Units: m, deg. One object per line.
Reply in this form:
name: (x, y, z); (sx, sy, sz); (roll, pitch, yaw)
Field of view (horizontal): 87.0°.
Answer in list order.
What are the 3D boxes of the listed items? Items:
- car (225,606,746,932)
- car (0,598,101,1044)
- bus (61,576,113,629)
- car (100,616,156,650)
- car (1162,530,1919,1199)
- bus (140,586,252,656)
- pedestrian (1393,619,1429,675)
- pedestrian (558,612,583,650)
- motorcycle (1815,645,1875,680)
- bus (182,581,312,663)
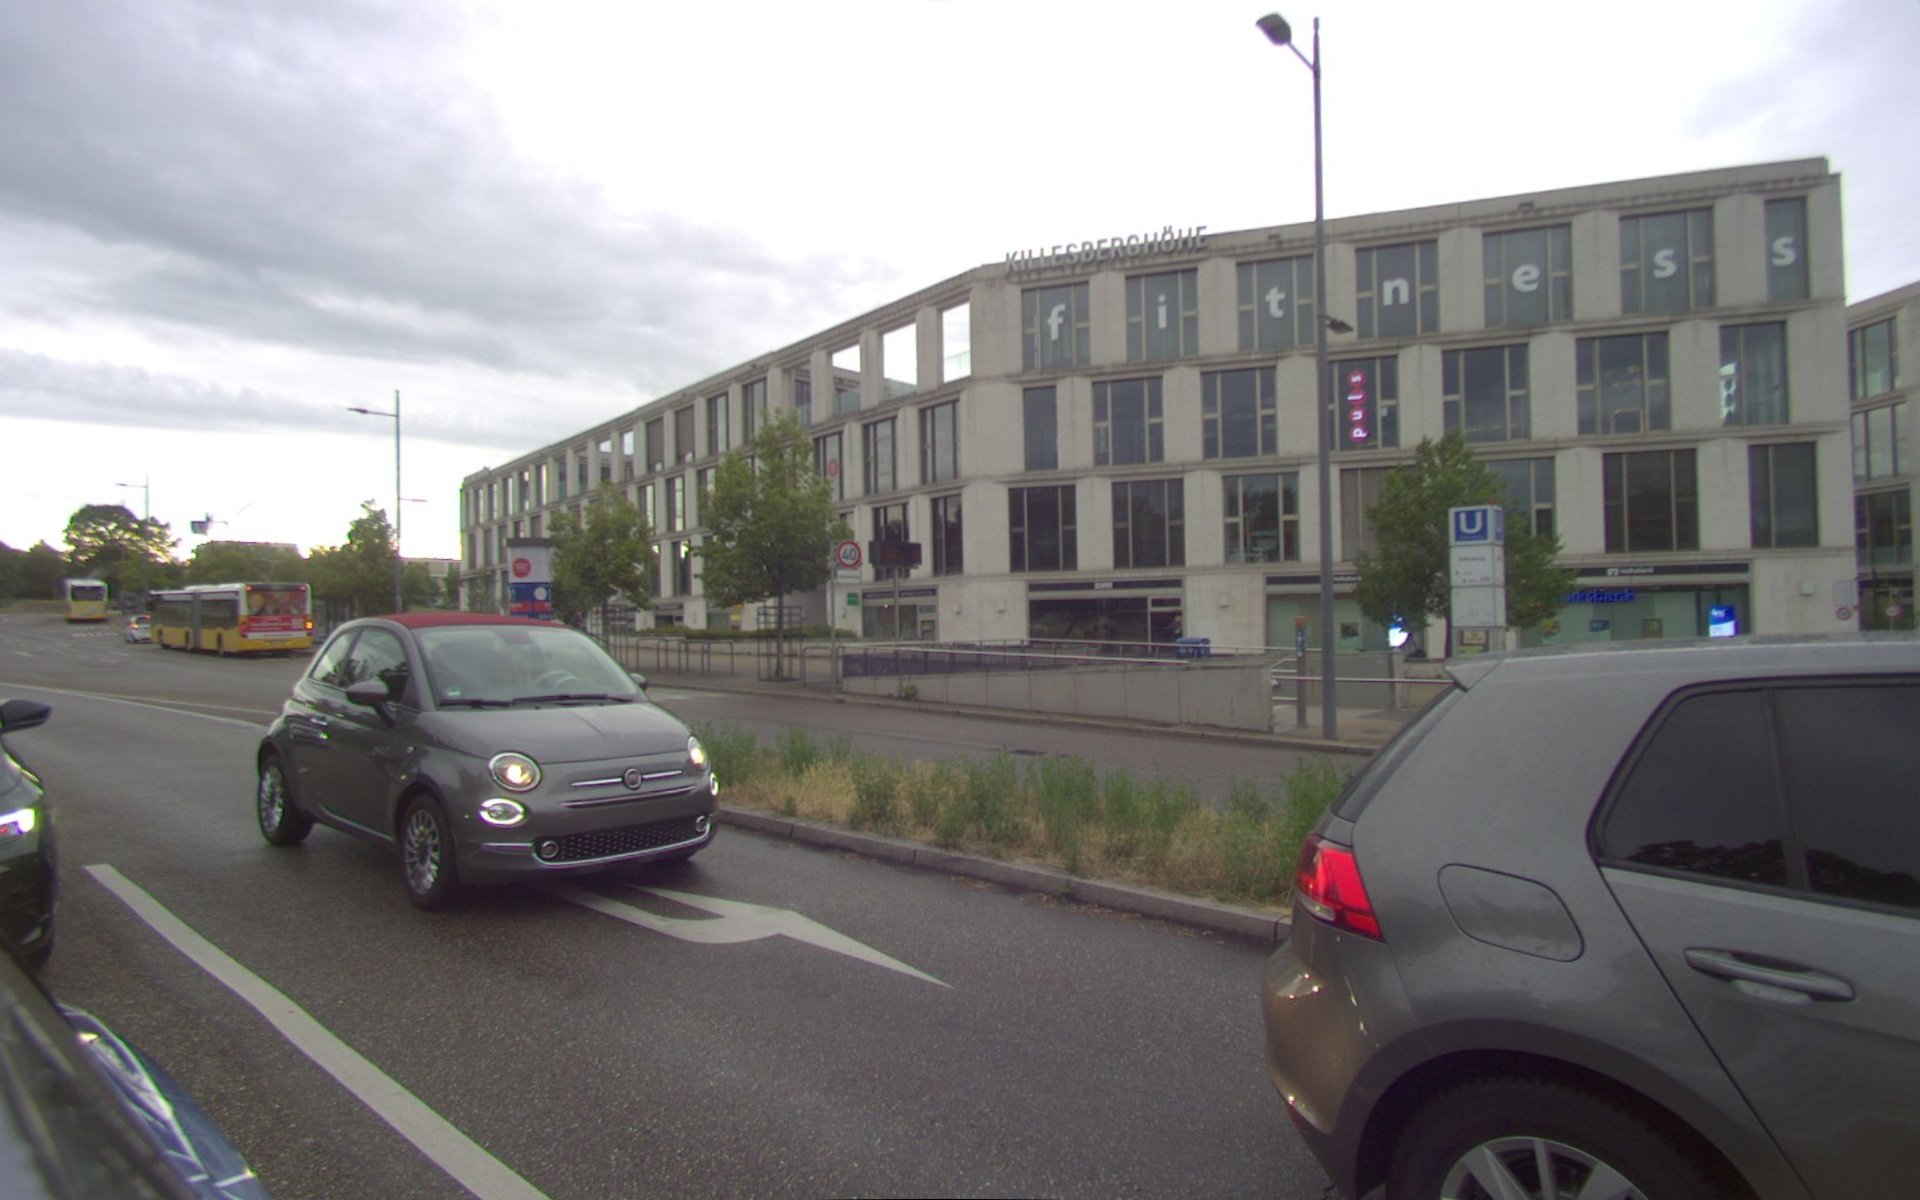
car: (-3.115, 0.810, 6.391); (3.502, 1.492, 1.611); (-1, -1, 39)
car: (-5.415, 0.761, 4.406); (4.766, 1.476, 1.877); (-1, 0, 41)
bus: (-76.591, 0.257, 89.040); (2.717, 4.185, 19.383); (-1, 0, -39)
car: (-47.324, 1.827, 57.516); (3.998, 1.800, 1.843); (-1, 0, 41)
car: (2.667, 0.647, 1.427); (4.374, 1.492, 1.797); (-1, -2, 41)
bus: (-38.160, 0.980, 50.378); (9.911, 3.205, 2.658); (-1, 0, 42)
pedestrian: (13.414, 1.385, 30.096); (0.911, 1.617, 0.757); (-1, -1, 28)
pedestrian: (-16.752, 1.312, 43.523); (0.967, 1.593, 0.869); (-1, 0, -18)
motorcycle: (20.417, 1.434, 23.371); (0.517, 0.746, 1.098); (-1, 0, 9)
bus: (-31.134, 0.911, 43.971); (9.206, 3.236, 2.723); (-1, 0, 43)
